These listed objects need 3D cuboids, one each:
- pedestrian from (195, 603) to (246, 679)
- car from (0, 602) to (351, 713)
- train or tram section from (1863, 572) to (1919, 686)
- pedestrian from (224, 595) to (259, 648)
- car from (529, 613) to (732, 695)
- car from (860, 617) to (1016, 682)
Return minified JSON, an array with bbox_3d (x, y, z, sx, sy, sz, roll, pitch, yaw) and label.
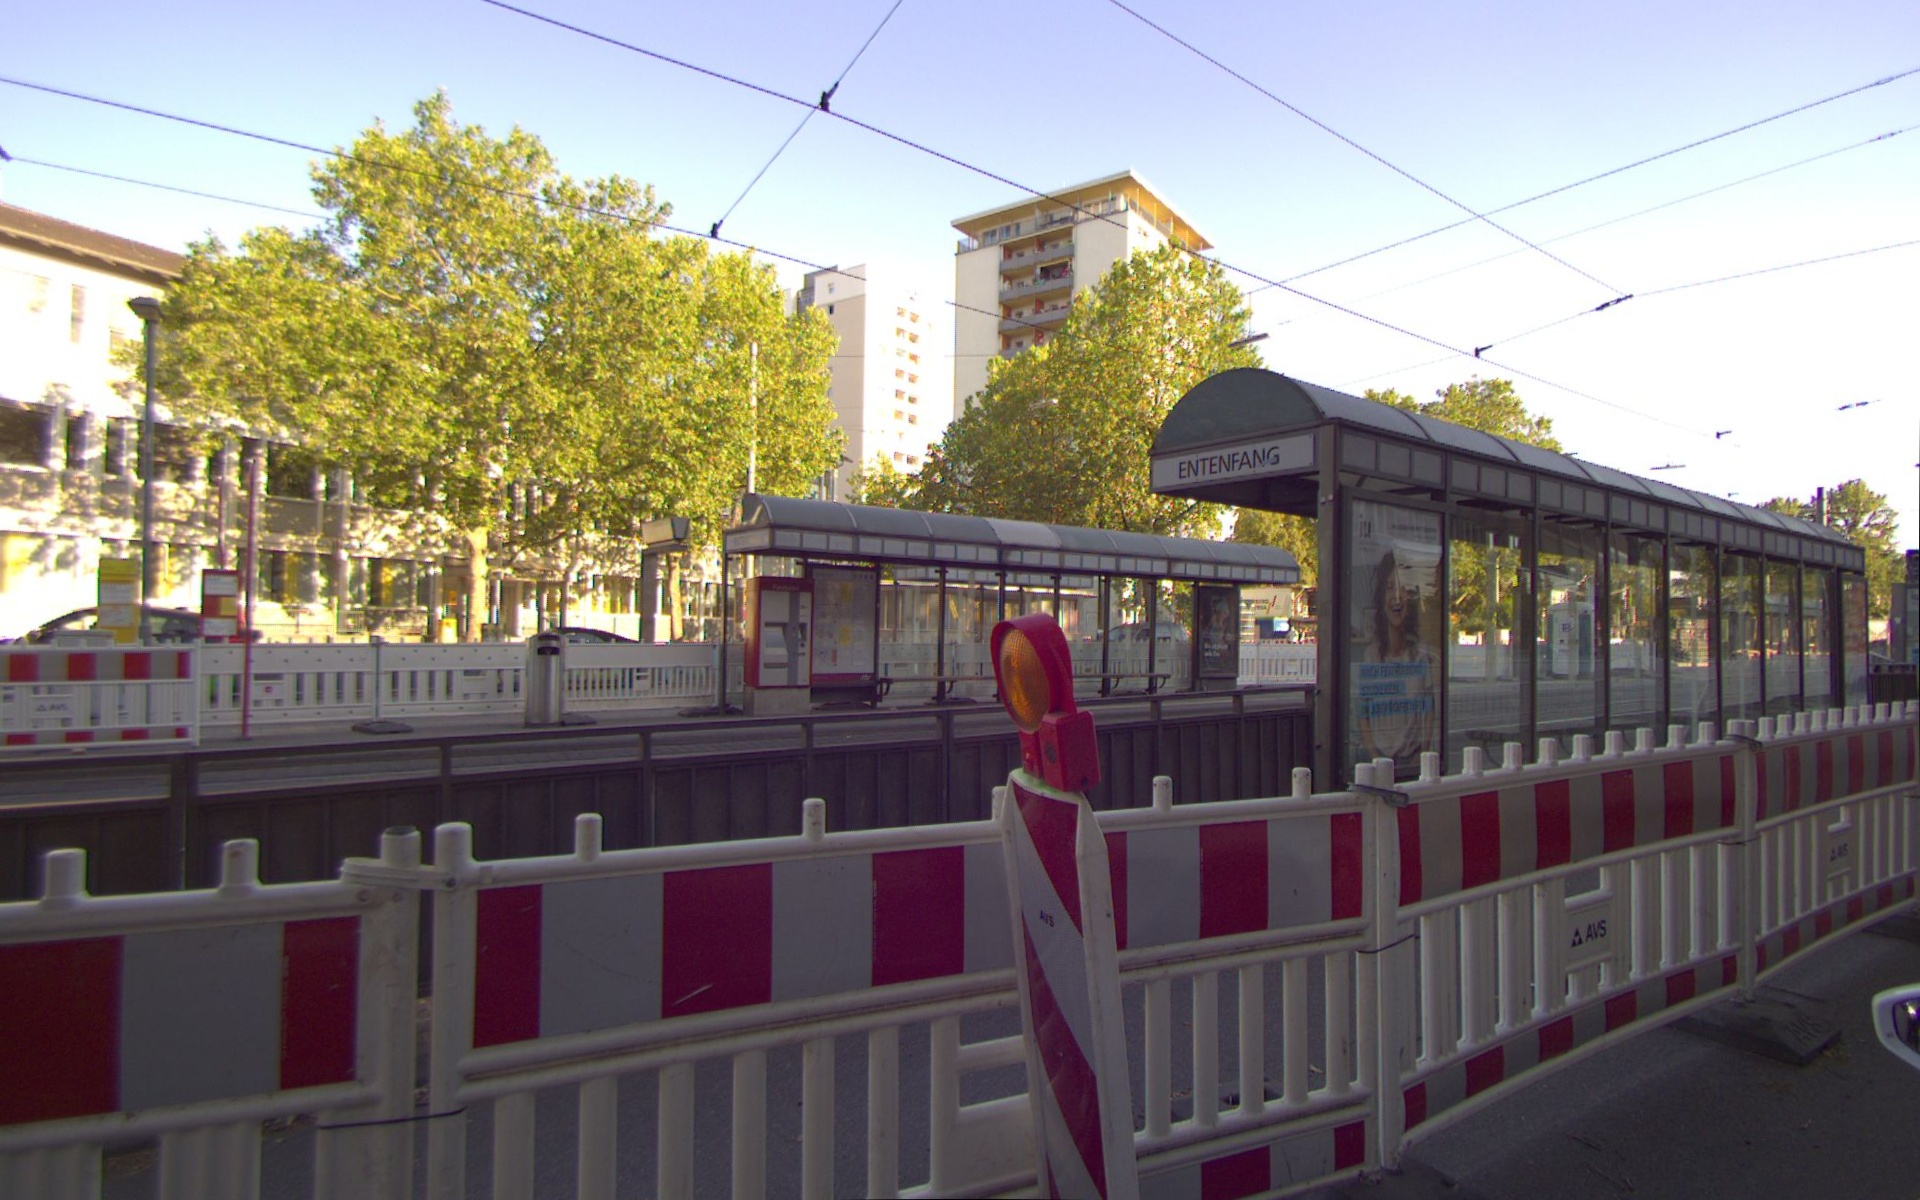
[{"bbox_3d":[-18.492,1.013,25.128,0.921,1.858,0.691,2,-2,-43],"label":"pedestrian"},{"bbox_3d":[-13.134,0.949,17.238,4.511,1.683,1.982,2,-2,-34],"label":"car"},{"bbox_3d":[34.869,1.071,34.957,11.656,3.580,2.668,2,0,-36],"label":"train or tram section"},{"bbox_3d":[-20.216,0.600,28.269,0.576,1.474,0.584,0,-1,31],"label":"pedestrian"},{"bbox_3d":[-7.377,1.175,22.574,3.958,1.683,1.982,2,-2,-33],"label":"car"},{"bbox_3d":[-0.576,1.345,27.877,3.959,1.683,1.901,2,-2,-34],"label":"car"}]
